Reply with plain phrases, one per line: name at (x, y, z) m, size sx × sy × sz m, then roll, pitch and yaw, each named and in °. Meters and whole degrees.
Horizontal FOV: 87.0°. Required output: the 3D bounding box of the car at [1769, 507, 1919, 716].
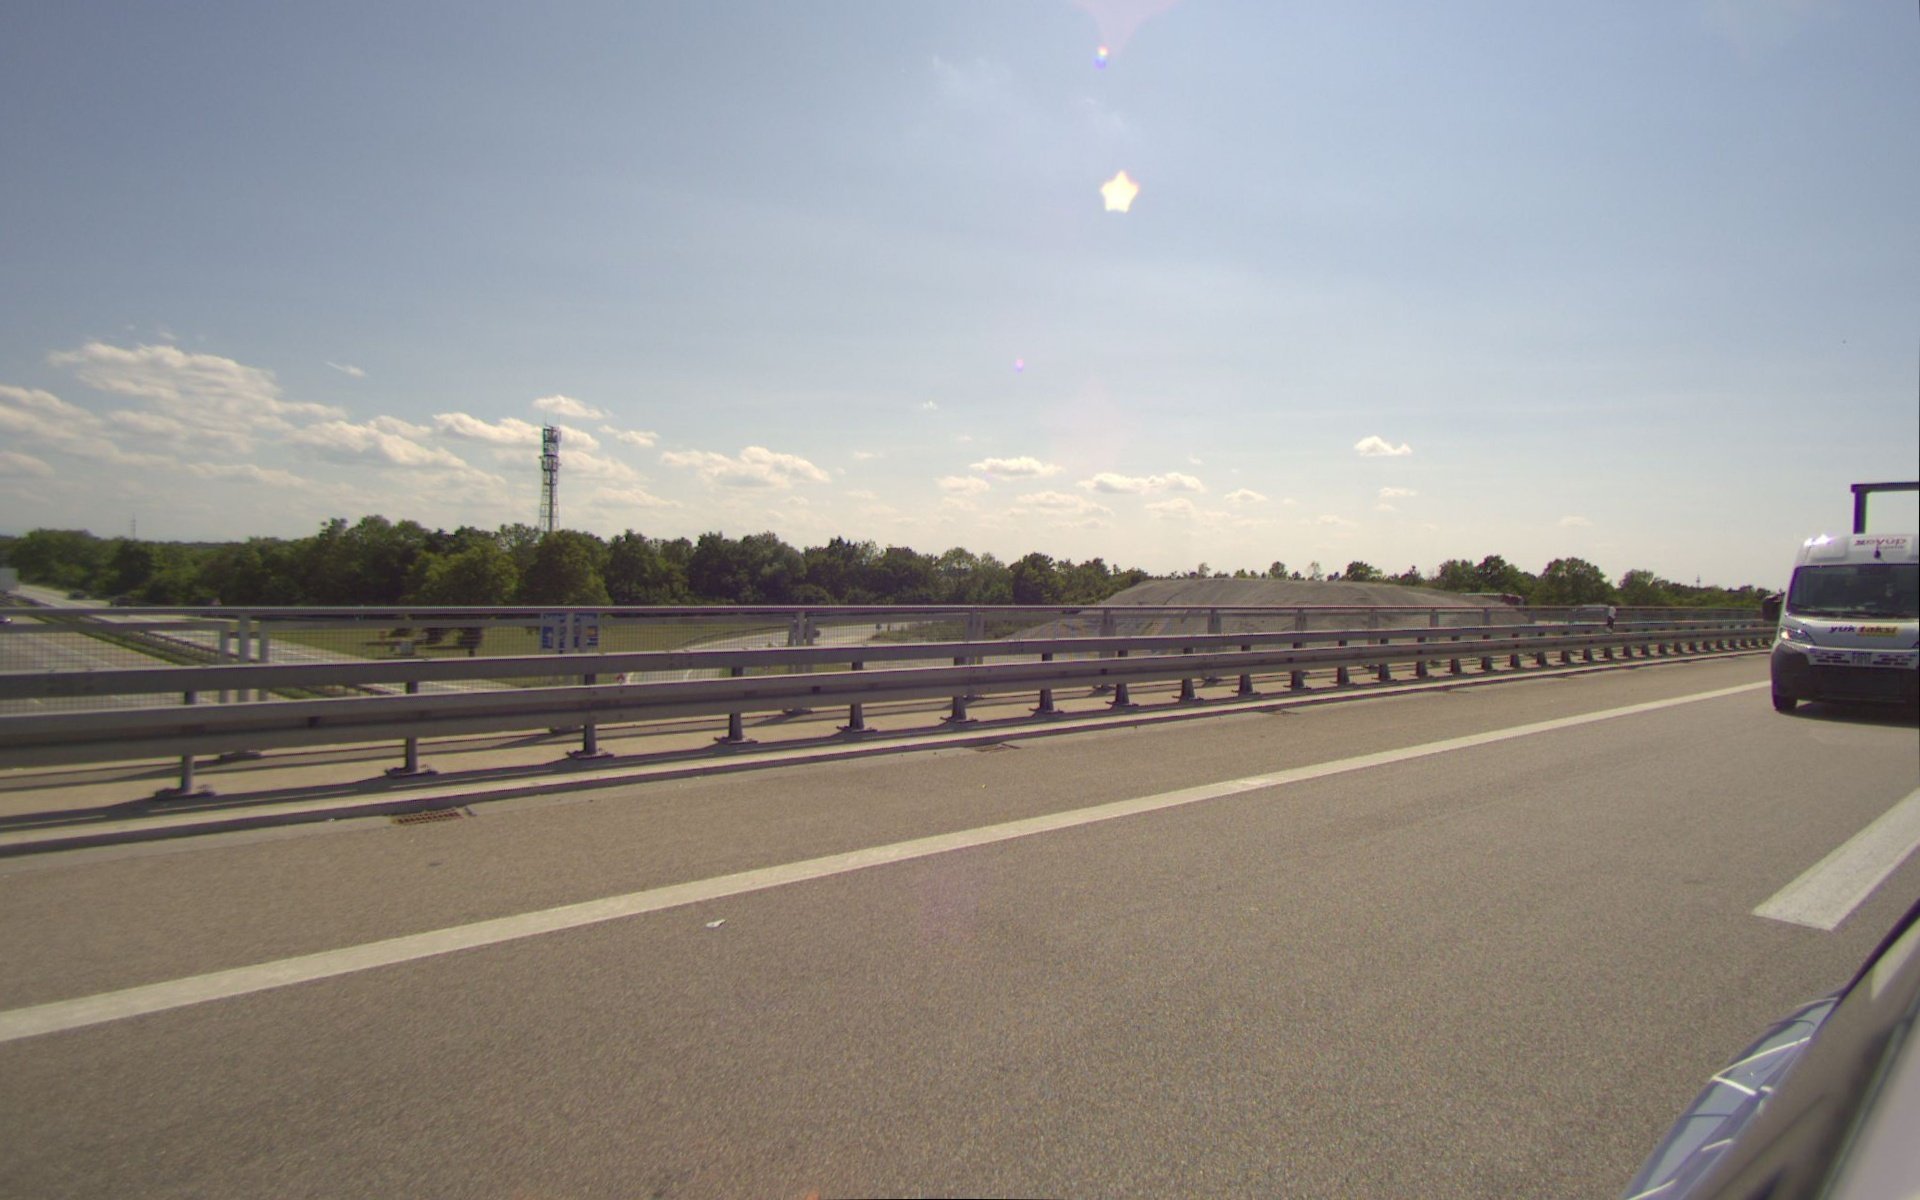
car at (13.769, 0.164, 14.688) m, size 6.128 × 2.555 × 2.086 m, roll 1°, pitch 1°, yaw -41°
